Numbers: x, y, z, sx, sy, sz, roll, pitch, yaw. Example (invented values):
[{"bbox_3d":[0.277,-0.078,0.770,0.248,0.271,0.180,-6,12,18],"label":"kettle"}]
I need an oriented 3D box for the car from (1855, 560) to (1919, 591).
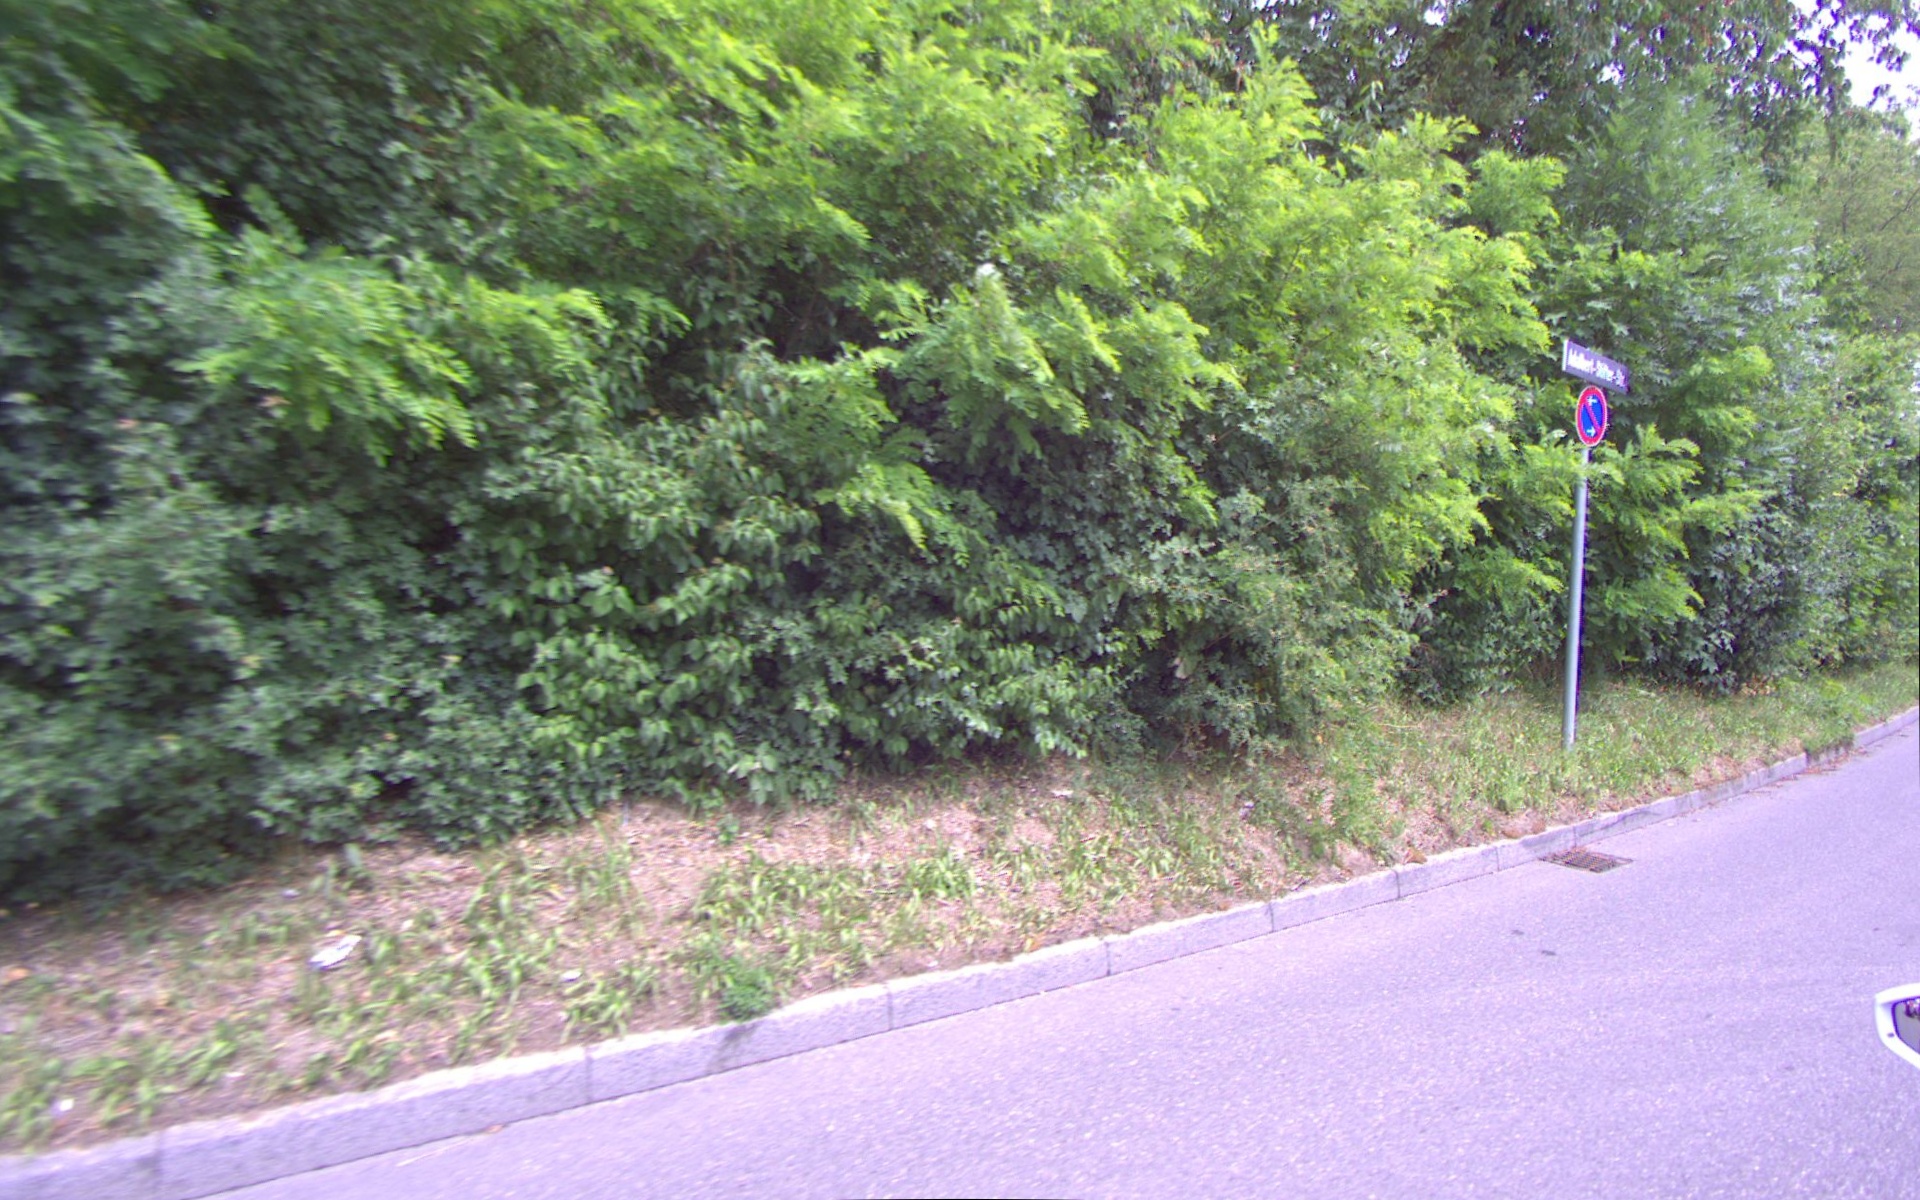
[{"bbox_3d":[49.993,-1.355,54.032,1.813,1.537,3.993,2,4,28],"label":"car"}]
